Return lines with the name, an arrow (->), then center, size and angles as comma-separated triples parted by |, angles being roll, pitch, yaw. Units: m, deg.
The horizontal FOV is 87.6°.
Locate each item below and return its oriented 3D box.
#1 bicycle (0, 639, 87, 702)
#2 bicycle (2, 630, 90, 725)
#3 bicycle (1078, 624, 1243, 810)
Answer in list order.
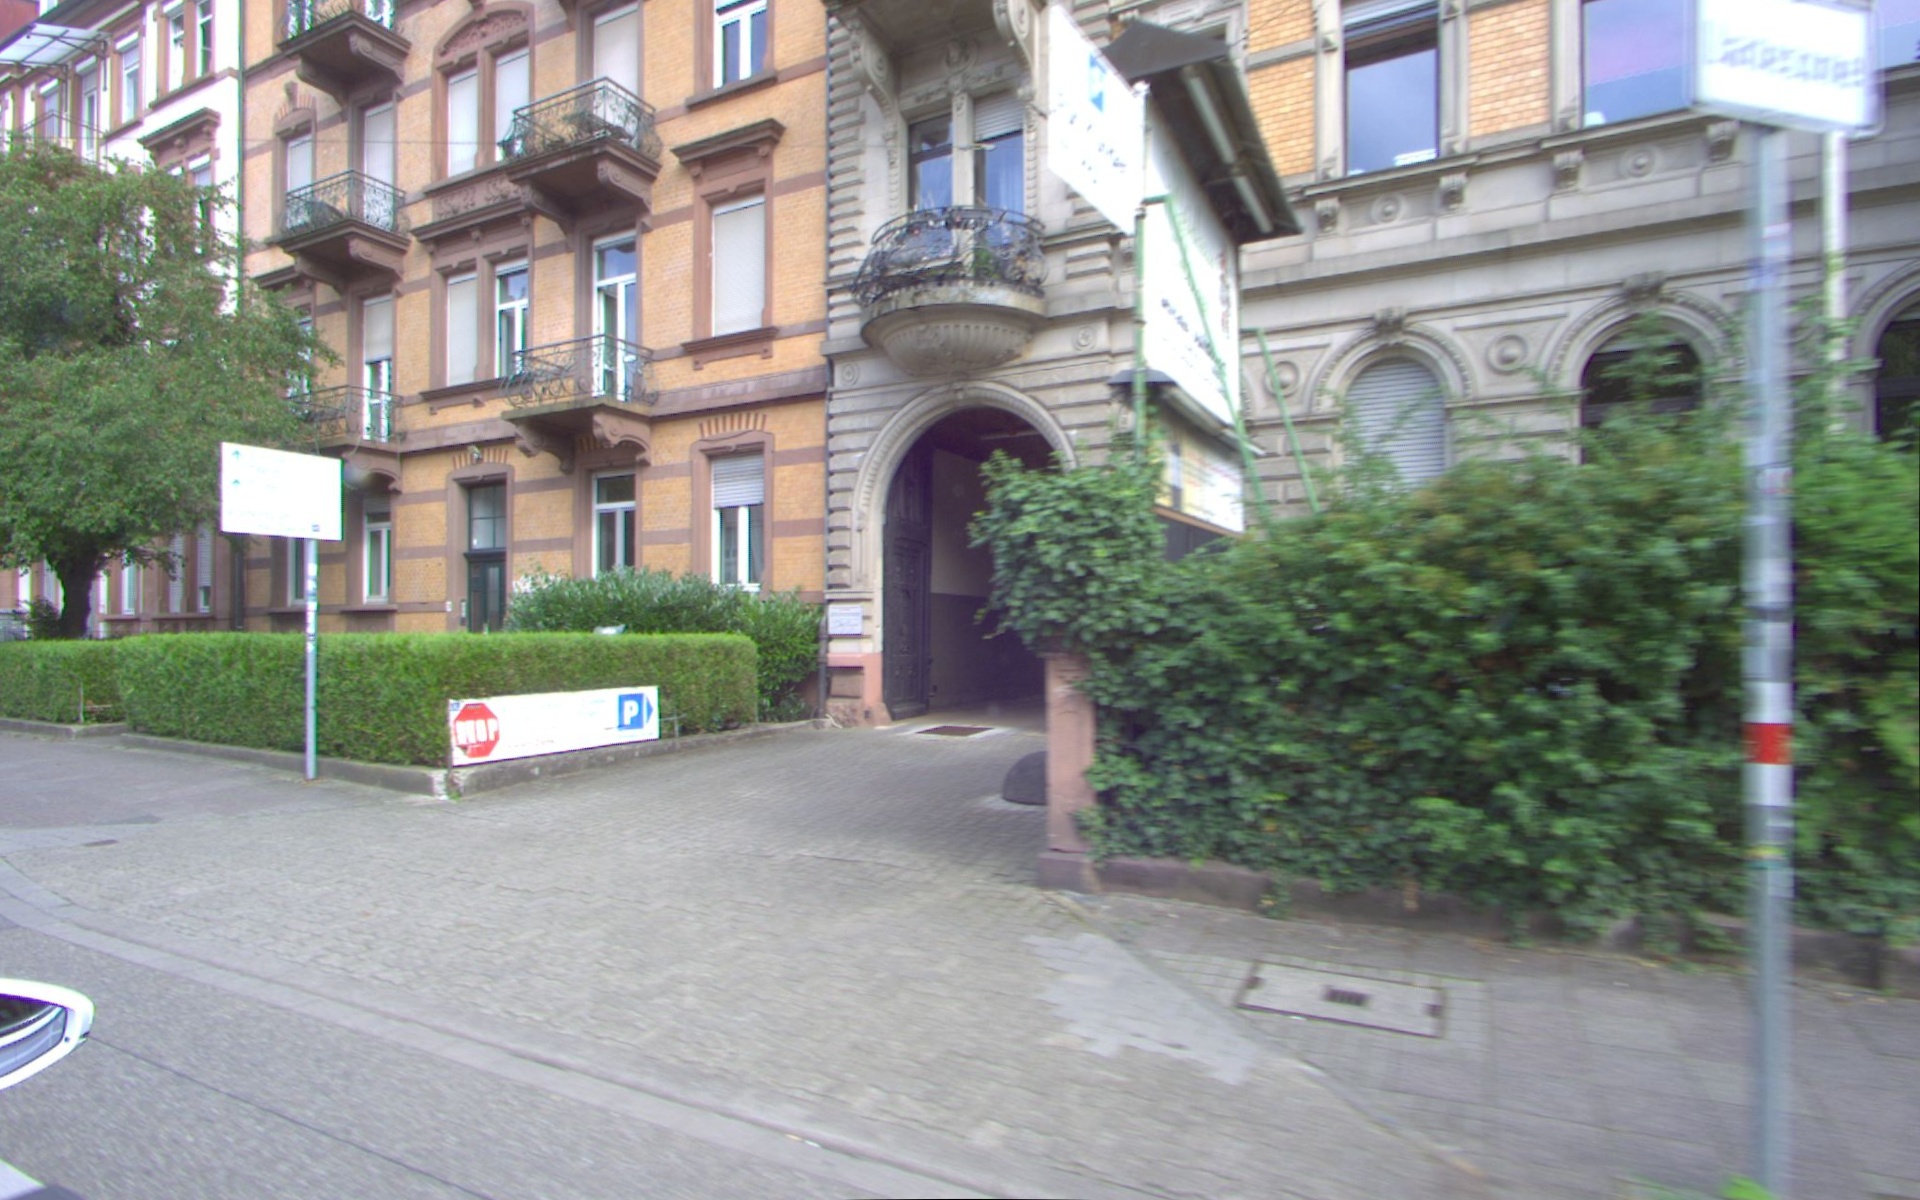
bicycle -> -15.825, 1.171, 16.921 | 0.502, 1.022, 1.545 | 0, -1, 27
bicycle -> -13.120, 1.077, 14.369 | 1.527, 1.298, 0.515 | -1, -1, 31
bicycle -> 1.787, 0.878, 8.515 | 0.758, 1.329, 2.624 | 0, -1, 26
